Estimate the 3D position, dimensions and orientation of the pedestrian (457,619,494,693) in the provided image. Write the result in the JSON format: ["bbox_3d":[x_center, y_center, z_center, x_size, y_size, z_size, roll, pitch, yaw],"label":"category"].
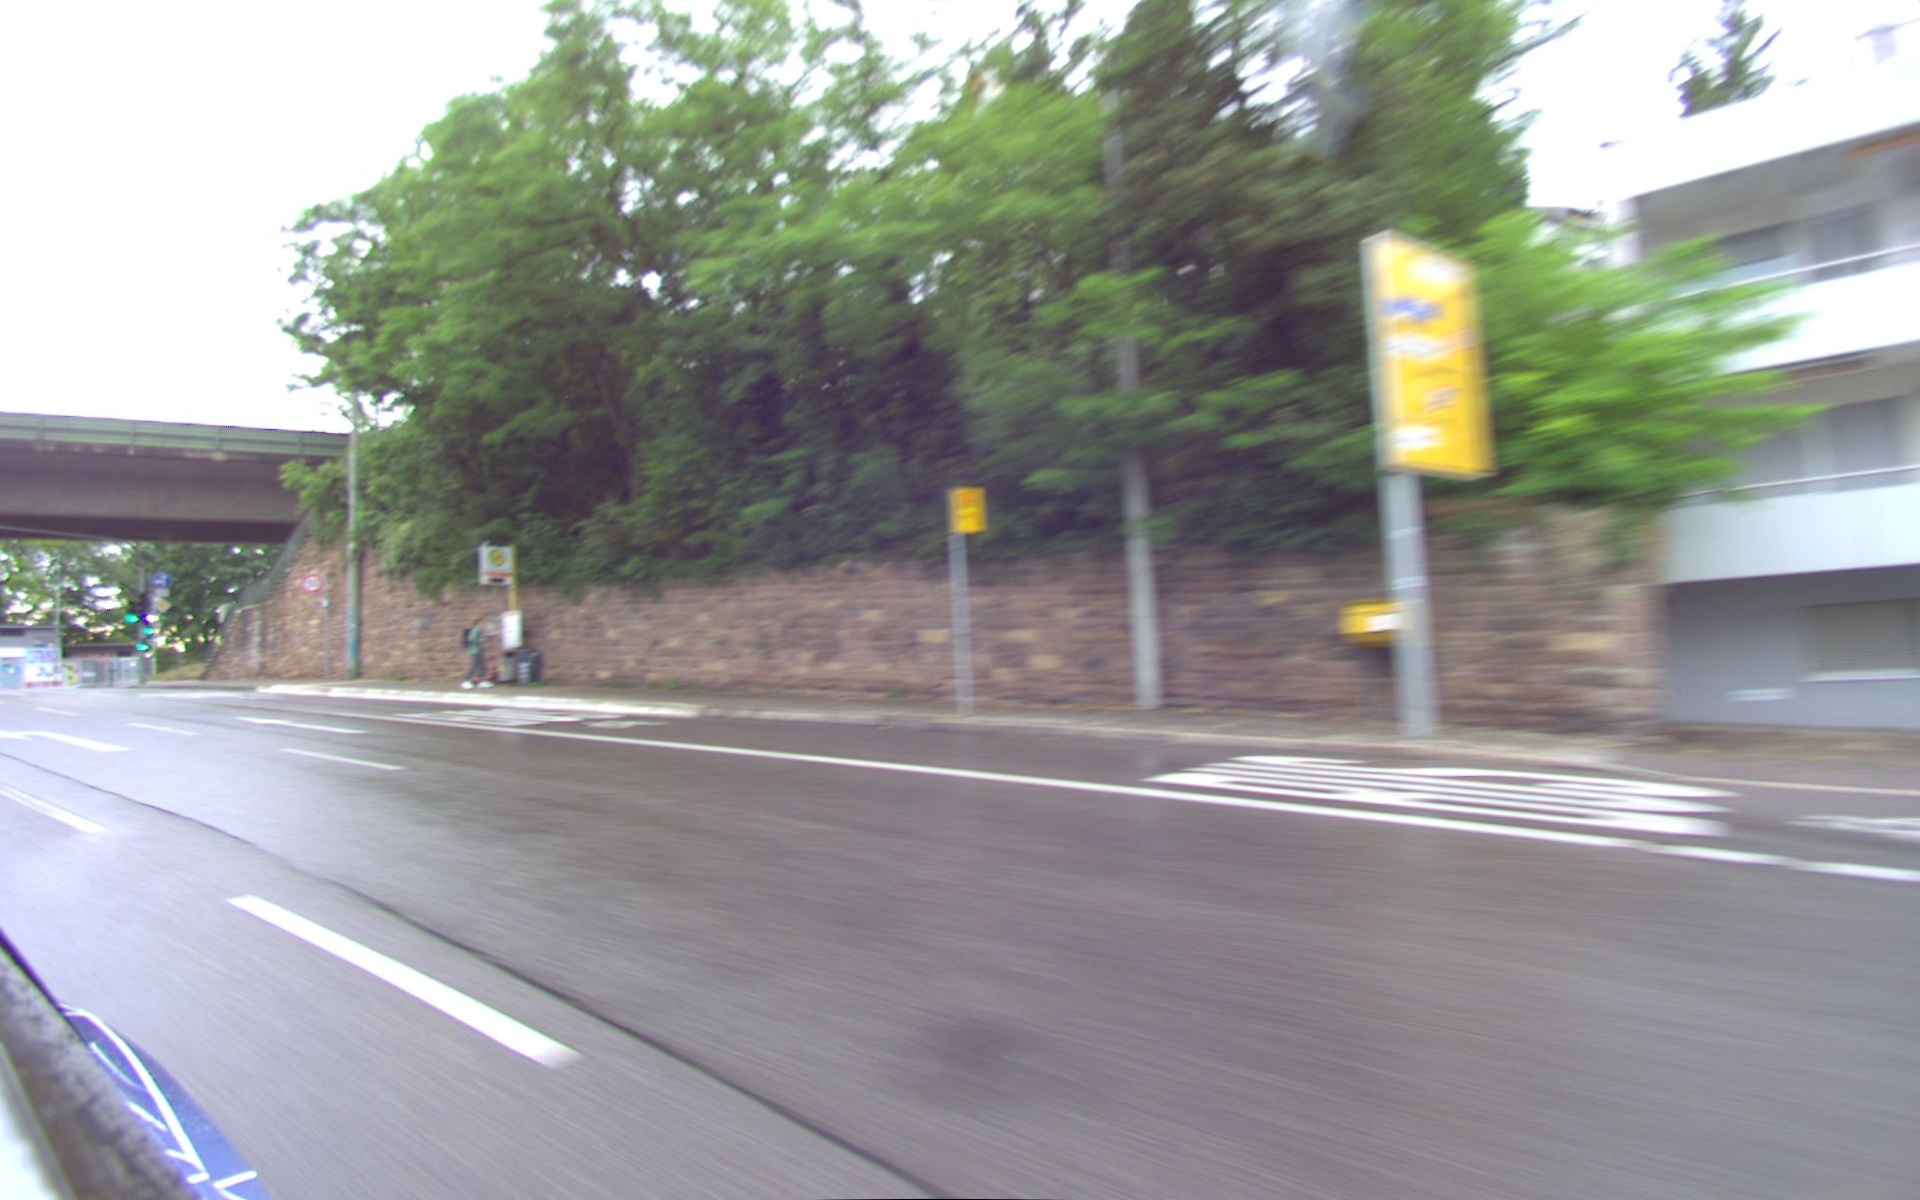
[{"bbox_3d":[-11.679,1.340,24.399,0.622,1.745,0.582,-2,-1,36],"label":"pedestrian"}]

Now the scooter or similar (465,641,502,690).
[{"bbox_3d":[-12.013,1.638,25.522,1.124,1.190,0.370,-2,-1,38],"label":"scooter or similar"}]
